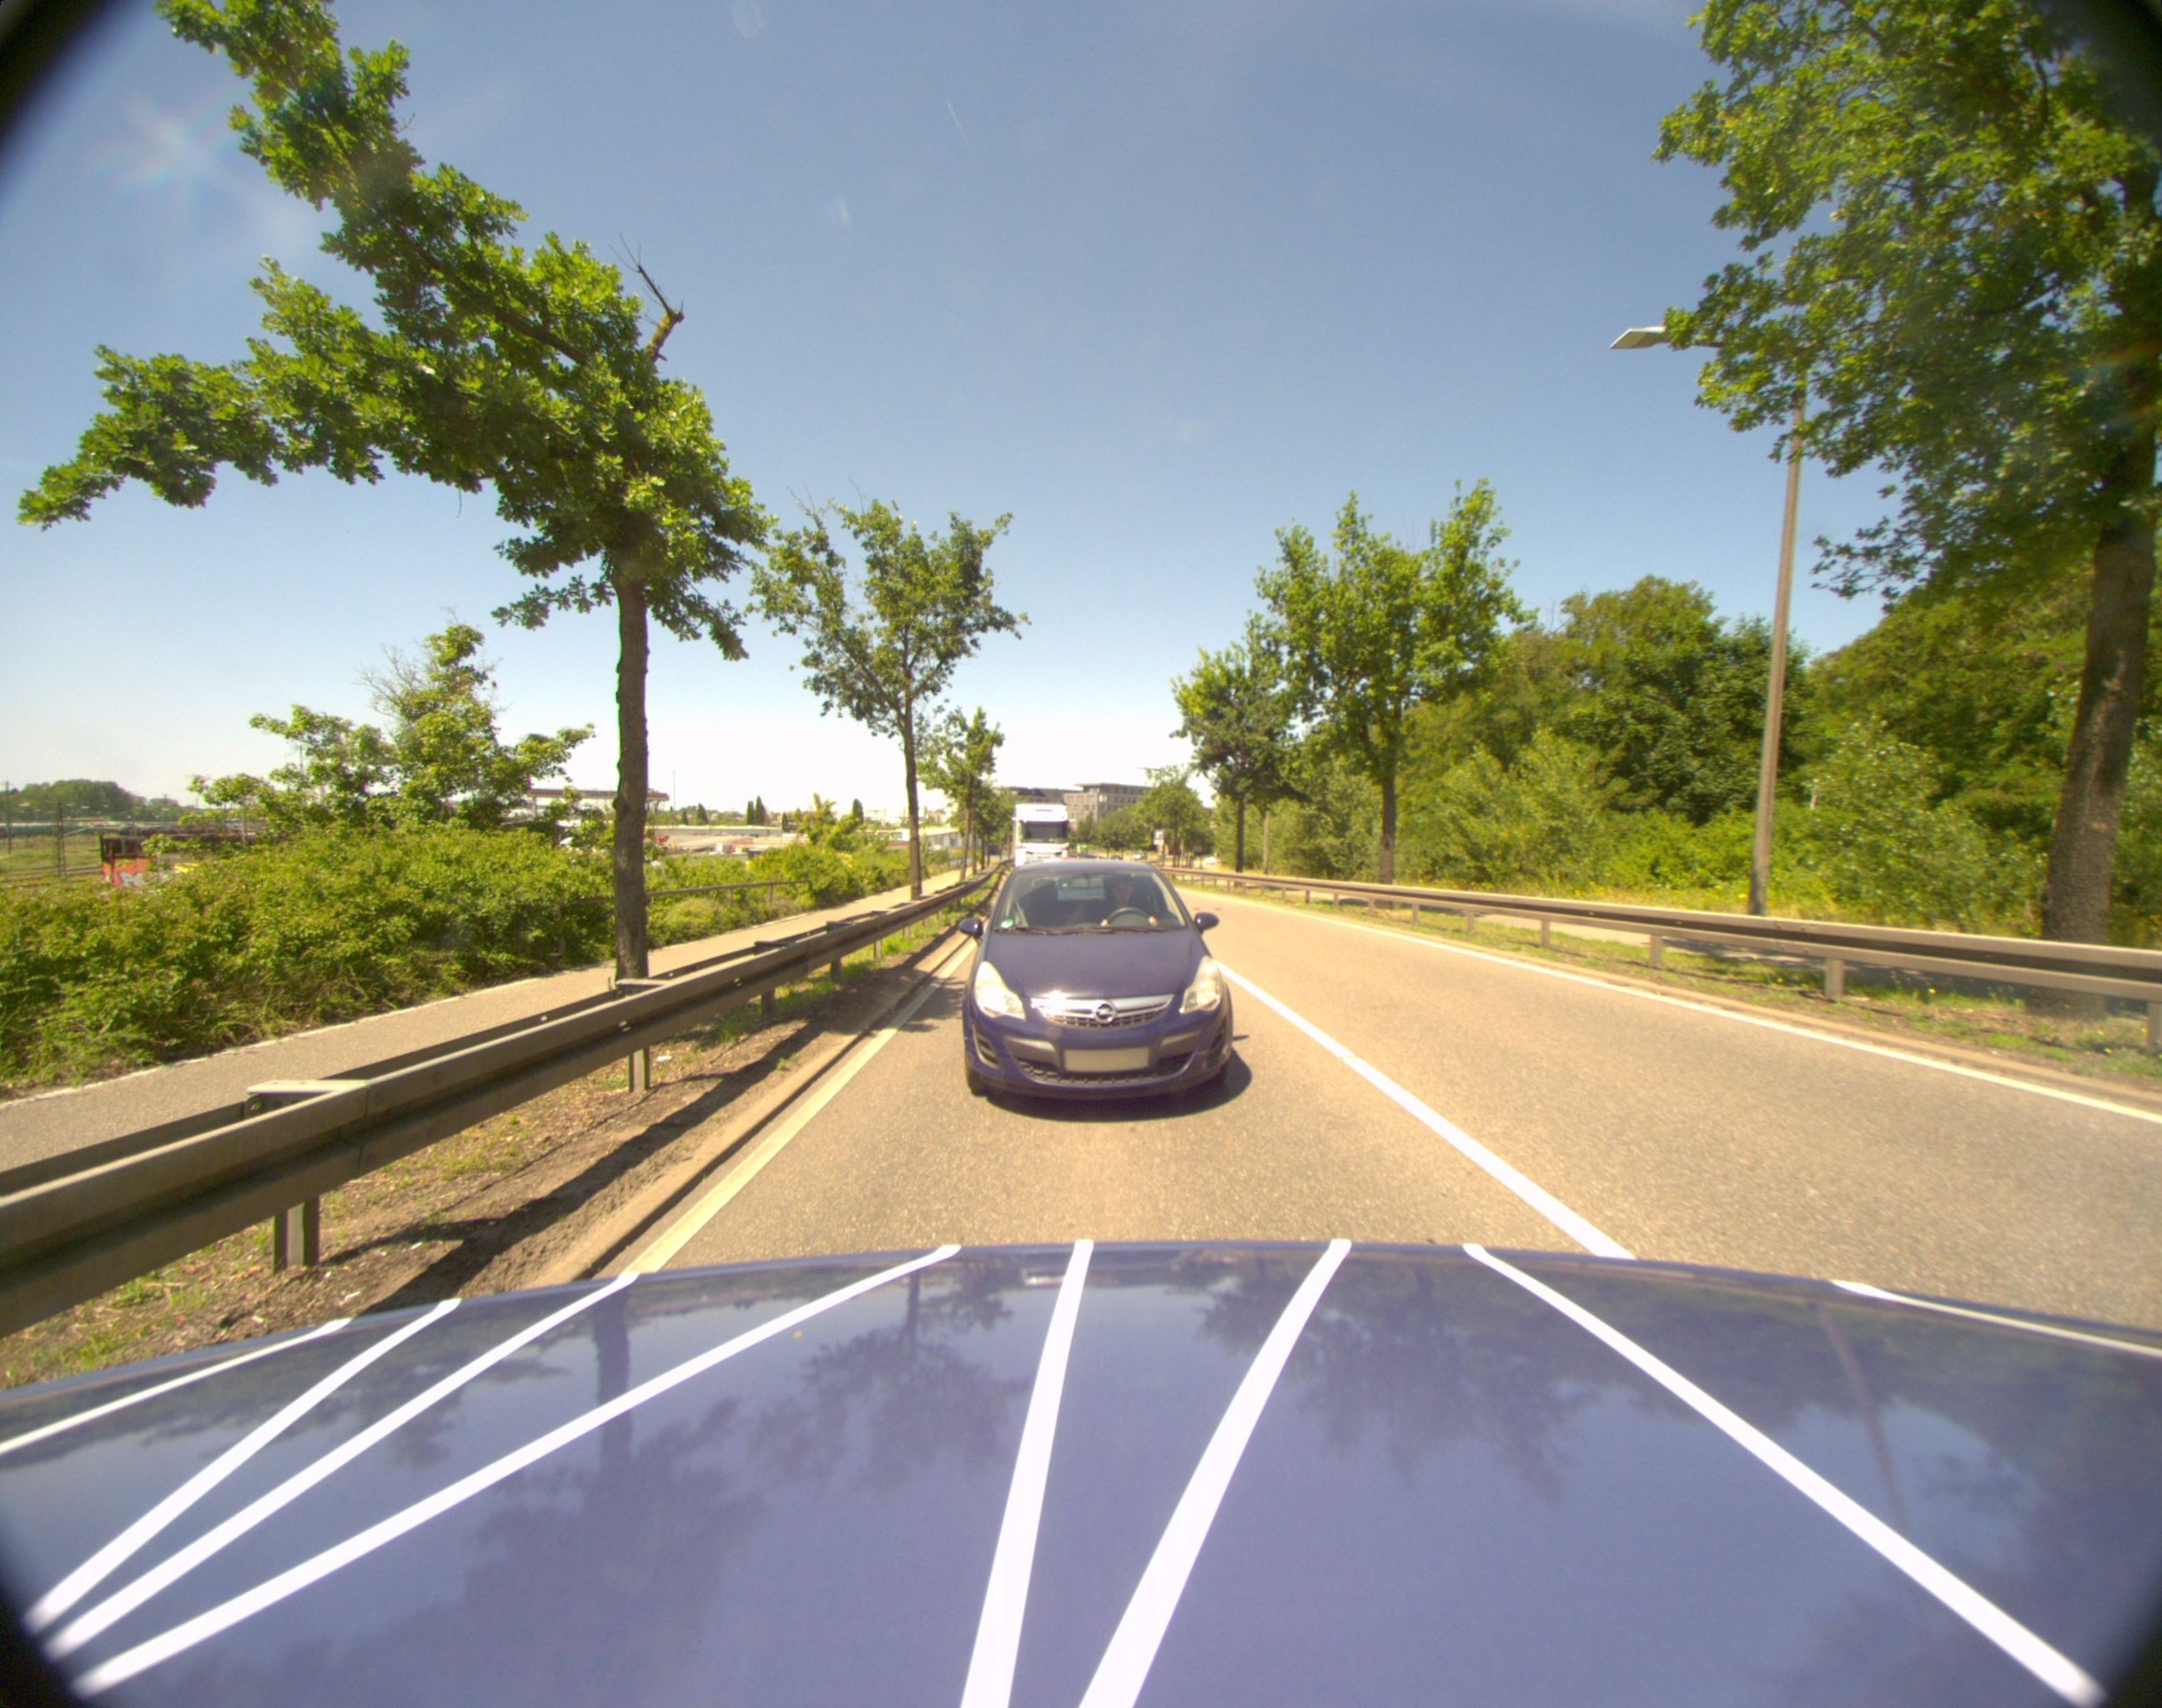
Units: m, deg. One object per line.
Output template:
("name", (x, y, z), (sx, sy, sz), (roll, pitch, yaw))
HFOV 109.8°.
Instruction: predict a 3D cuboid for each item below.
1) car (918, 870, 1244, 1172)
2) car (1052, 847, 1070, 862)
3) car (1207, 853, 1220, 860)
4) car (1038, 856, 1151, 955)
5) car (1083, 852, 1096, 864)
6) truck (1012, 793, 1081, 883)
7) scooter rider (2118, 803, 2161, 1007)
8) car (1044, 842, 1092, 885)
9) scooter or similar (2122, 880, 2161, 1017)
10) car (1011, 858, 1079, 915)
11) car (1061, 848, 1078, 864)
("car", (-0.045, 0.941, 6.033), (1.720, 1.455, 3.836), (-2, 1, -2))
("car", (-2.215, 0.040, 86.443), (1.743, 1.608, 4.000), (-2, 1, 3))
("car", (27.601, 0.536, 157.752), (1.777, 1.435, 4.006), (-1, 1, 23))
("car", (0.184, 0.846, 14.267), (1.780, 1.498, 3.895), (-2, 1, -1))
("car", (1.452, 0.672, 129.207), (1.779, 2.002, 4.002), (-2, 1, 7))
("truck", (-2.367, -0.843, 43.912), (3.072, 4.146, 16.900), (-2, 1, -5))
("scooter rider", (9.107, 0.408, 5.825), (0.779, 1.648, 1.120), (-2, 1, 0))
("car", (-0.573, 0.349, 30.653), (1.780, 1.569, 3.998), (-2, 1, -3))
("scooter or similar", (9.102, 0.767, 5.816), (0.779, 1.085, 1.095), (-2, 1, 0))
("car", (-1.117, 0.874, 22.153), (1.781, 1.398, 3.998), (-2, 1, -5))
("car", (-1.527, 0.272, 104.498), (1.779, 2.002, 4.001), (-2, 1, 7))
